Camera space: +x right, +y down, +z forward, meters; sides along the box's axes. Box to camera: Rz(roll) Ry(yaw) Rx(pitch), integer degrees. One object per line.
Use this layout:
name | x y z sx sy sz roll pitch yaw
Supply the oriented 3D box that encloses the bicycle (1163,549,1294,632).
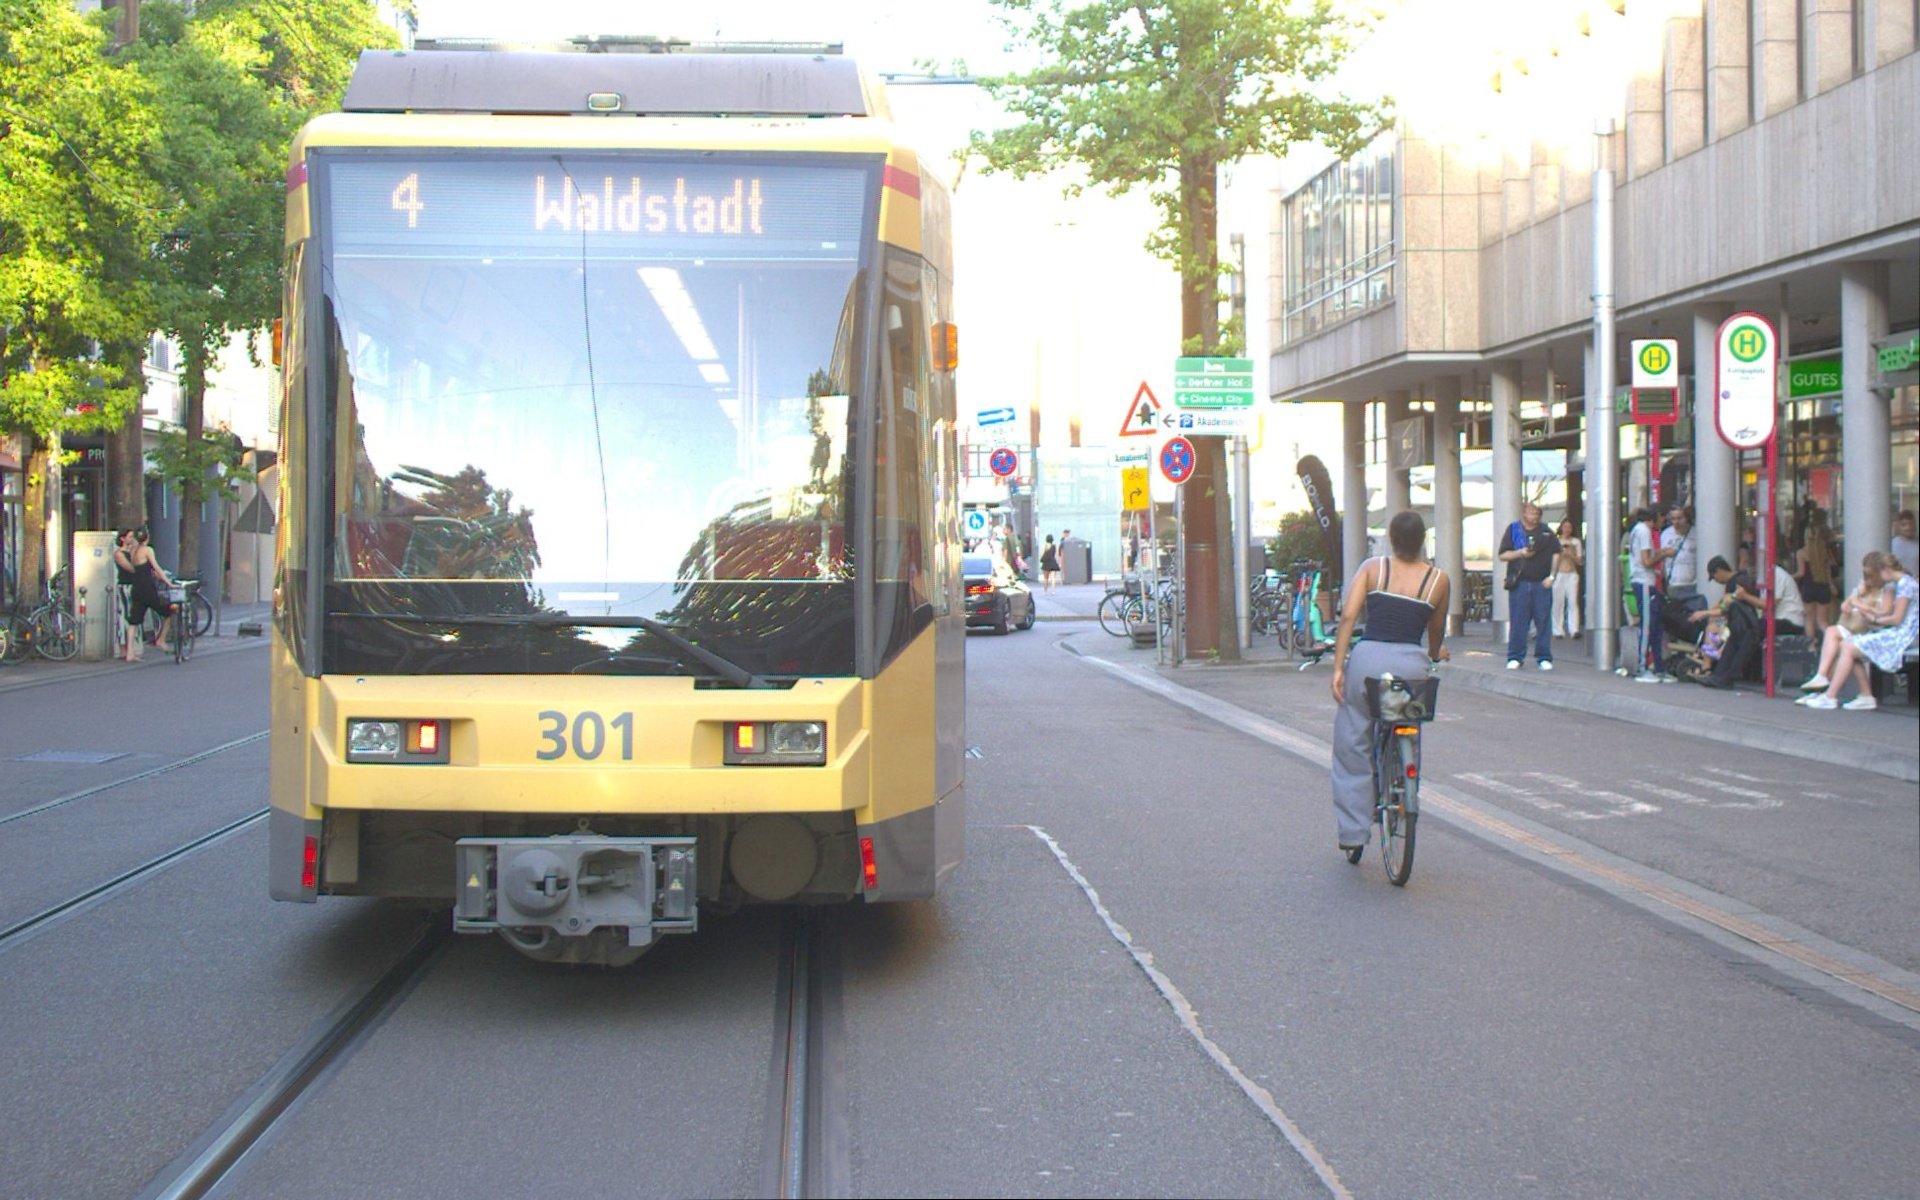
bicycle | 4.234 -0.155 54.309 1.914 1.218 0.763 -2 1 -6

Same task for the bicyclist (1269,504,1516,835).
bicyclist | 2.019 0.311 16.169 0.997 1.497 0.857 1 1 -1

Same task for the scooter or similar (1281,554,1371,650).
scooter or similar | 4.923 0.023 46.224 1.112 1.247 0.497 -2 2 -32

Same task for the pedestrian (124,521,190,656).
pedestrian | -10.175 -0.149 43.556 0.602 1.693 0.535 1 2 27

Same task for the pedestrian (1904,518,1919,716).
pedestrian | 7.946 0.128 27.209 0.724 1.565 0.736 -1 1 0

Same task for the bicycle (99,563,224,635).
bicycle | -12.212 -0.023 52.589 1.772 1.041 0.489 1 1 -2

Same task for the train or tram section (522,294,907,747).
train or tram section | -2.110 -0.732 32.448 2.800 3.308 14.510 0 1 -2

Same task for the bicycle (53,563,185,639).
bicycle | -12.119 0.013 49.556 1.772 1.041 0.489 1 1 -2

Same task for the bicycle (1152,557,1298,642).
bicycle | 3.906 -0.018 50.686 1.995 1.151 0.726 -2 1 -6

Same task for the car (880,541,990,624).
car | -0.406 -0.291 60.387 1.770 1.404 4.052 0 0 2

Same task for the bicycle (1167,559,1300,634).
bicycle | 4.259 -0.067 53.564 1.914 1.074 0.763 -2 1 -6

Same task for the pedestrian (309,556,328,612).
pedestrian | -17.706 -0.445 94.930 0.508 1.542 0.518 0 0 -10

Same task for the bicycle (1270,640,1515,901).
bicycle | 2.007 0.769 16.266 0.815 1.069 2.113 1 1 -1

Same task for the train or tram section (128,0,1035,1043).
train or tram section | -1.486 -0.431 17.975 2.800 3.308 14.510 0 1 -2

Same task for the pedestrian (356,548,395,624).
pedestrian | -11.834 -0.287 69.603 0.684 1.536 0.605 0 0 -17

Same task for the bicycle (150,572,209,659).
bicycle | -9.912 0.186 43.691 0.488 1.041 1.778 0 1 -5

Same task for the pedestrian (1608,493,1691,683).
pedestrian | 6.758 -0.116 33.714 0.639 1.833 0.668 -1 1 -1

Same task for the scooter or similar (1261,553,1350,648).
scooter or similar | 4.722 0.002 46.962 1.187 1.247 0.393 -2 2 -31

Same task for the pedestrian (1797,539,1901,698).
pedestrian | 7.430 0.148 28.743 0.718 1.310 0.532 1 0 0

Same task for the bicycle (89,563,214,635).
bicycle | -12.227 -0.016 52.008 1.772 1.041 0.489 1 1 -2

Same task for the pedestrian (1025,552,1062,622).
pedestrian | 2.168 -0.346 89.354 0.733 1.817 0.820 0 1 -16

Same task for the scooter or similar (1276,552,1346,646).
scooter or similar | 4.865 -0.021 47.612 0.393 1.247 1.189 0 2 36

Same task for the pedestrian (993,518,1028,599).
pedestrian | 1.069 -0.884 73.376 0.718 1.719 0.709 0 0 -1

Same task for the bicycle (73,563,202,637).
bicycle | -12.188 -0.004 50.948 1.772 1.041 0.489 1 1 -2

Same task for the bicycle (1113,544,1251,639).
bicycle | 3.316 -0.132 51.480 1.914 1.328 0.726 -2 1 -6

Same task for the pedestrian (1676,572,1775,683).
pedestrian | 7.327 0.257 32.918 0.813 1.039 0.544 1 0 0

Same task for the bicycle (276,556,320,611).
bicycle | -14.197 -0.359 73.804 0.498 1.104 1.800 0 2 3

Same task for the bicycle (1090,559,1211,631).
bicycle | 3.086 -0.084 55.772 1.852 1.105 0.667 -2 1 -4

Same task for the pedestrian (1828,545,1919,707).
pedestrian | 7.553 0.210 28.199 0.718 1.310 0.524 1 0 0

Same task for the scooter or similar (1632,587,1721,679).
scooter or similar | 7.146 0.323 34.275 0.834 0.881 0.686 1 1 12

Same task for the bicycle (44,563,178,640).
bicycle | -12.104 0.019 49.054 1.772 1.041 0.489 1 1 -2

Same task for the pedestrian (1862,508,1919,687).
pedestrian | 8.910 -0.032 32.237 0.687 1.655 0.722 -1 1 0

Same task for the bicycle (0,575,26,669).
bicycle | -11.777 0.233 39.825 1.771 1.067 0.489 2 1 -7

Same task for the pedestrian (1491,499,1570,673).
pedestrian | 6.094 -0.151 36.717 0.668 1.833 0.708 -1 1 -2

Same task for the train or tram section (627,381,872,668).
train or tram section | -2.742 -1.021 46.933 2.800 3.308 14.510 0 1 -2

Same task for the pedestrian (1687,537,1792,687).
pedestrian | 7.289 0.108 32.177 0.813 1.376 0.662 1 0 0

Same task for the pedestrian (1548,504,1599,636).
pedestrian | 8.436 -0.417 47.261 0.539 1.800 0.604 -1 1 -3

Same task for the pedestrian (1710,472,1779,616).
pedestrian | 9.878 -0.702 43.300 0.663 1.780 0.719 -1 1 -1

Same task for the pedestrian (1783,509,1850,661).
pedestrian | 9.901 -0.177 39.776 0.570 1.725 0.617 -1 1 -3

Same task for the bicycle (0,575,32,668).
bicycle | -11.852 0.226 40.368 1.771 1.067 0.489 2 1 -7

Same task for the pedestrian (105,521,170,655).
pedestrian | -10.533 -0.156 44.025 0.602 1.693 0.535 1 2 27

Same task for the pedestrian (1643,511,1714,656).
pedestrian | 8.361 -0.196 40.024 0.648 1.655 0.650 -1 1 -1

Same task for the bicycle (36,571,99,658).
bicycle | -11.275 0.176 43.462 0.488 1.041 1.778 0 1 -5

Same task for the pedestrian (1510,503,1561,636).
pedestrian | 7.882 -0.419 47.058 0.539 1.800 0.604 -1 1 -3

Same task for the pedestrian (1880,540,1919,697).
pedestrian | 8.166 0.153 28.876 0.718 1.310 0.532 1 0 0

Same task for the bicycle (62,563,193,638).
bicycle | -12.138 0.006 50.128 1.772 1.041 0.489 1 1 -2

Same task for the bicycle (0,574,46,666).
bicycle | -11.866 0.218 41.021 1.771 1.067 0.489 2 1 -7

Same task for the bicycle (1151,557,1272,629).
bicycle | 4.091 -0.116 55.980 1.852 1.105 0.667 -2 1 -4

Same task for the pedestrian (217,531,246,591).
pedestrian | -21.017 -1.130 99.149 0.713 1.719 0.709 0 0 -4

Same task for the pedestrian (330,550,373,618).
pedestrian | -12.819 -0.336 72.433 0.555 1.429 0.684 0 0 36

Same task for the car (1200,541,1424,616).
car | 6.767 -0.397 66.181 3.887 1.404 1.776 0 0 -19

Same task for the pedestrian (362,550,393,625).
pedestrian | -11.662 -0.246 68.862 0.603 1.489 0.555 0 0 -10
